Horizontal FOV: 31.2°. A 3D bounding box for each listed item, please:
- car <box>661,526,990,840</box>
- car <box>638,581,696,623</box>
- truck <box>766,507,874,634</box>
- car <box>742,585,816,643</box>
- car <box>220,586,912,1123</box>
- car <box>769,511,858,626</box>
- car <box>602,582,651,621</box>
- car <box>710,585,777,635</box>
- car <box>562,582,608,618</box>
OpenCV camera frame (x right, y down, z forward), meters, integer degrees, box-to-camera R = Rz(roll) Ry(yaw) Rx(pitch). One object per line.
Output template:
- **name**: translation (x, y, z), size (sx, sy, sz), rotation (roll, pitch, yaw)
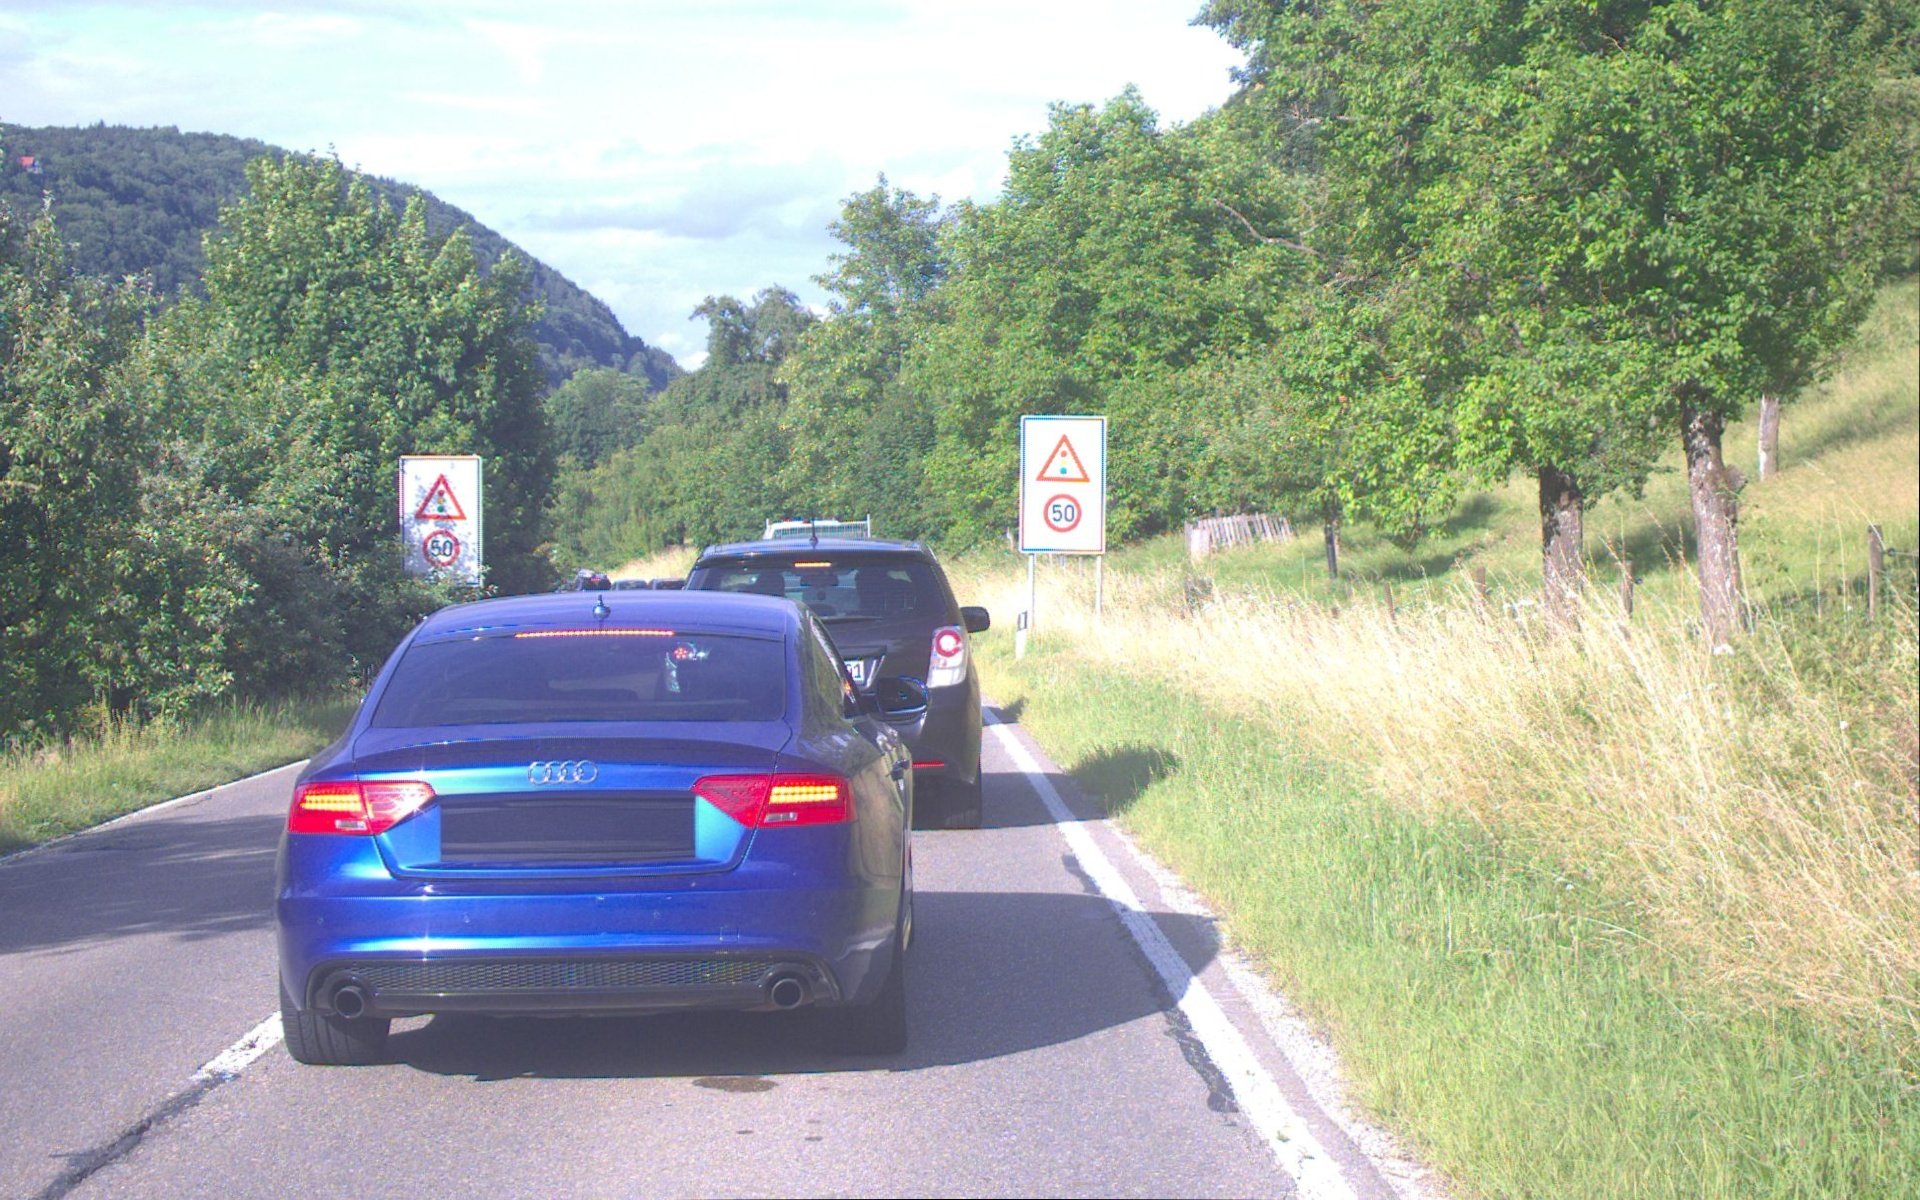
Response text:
- **car**: translation (-0.745, 0.398, 19.791), size (1.692, 1.618, 3.789), rotation (1, 1, -1)
- **car**: translation (-11.314, 0.059, 132.632), size (1.747, 1.490, 3.779), rotation (2, 1, -12)
- **truck**: translation (-2.740, -0.597, 67.633), size (1.950, 2.337, 5.094), rotation (2, 1, -2)
- **car**: translation (-5.055, 0.375, 95.821), size (1.747, 1.490, 3.779), rotation (2, 1, -7)
- **car**: translation (-1.069, 0.662, 11.176), size (1.805, 1.377, 4.215), rotation (-1, 0, -1)
- **car**: translation (-3.314, -0.720, 77.158), size (1.792, 2.445, 3.920), rotation (2, 1, -4)
- **car**: translation (-13.919, 0.065, 143.374), size (1.558, 1.490, 3.779), rotation (2, 1, -12)
- **car**: translation (-7.050, 0.301, 111.510), size (1.747, 1.490, 3.779), rotation (2, 1, -10)
- **car**: translation (-16.843, -0.025, 154.364), size (1.558, 1.490, 3.779), rotation (2, 1, -13)
